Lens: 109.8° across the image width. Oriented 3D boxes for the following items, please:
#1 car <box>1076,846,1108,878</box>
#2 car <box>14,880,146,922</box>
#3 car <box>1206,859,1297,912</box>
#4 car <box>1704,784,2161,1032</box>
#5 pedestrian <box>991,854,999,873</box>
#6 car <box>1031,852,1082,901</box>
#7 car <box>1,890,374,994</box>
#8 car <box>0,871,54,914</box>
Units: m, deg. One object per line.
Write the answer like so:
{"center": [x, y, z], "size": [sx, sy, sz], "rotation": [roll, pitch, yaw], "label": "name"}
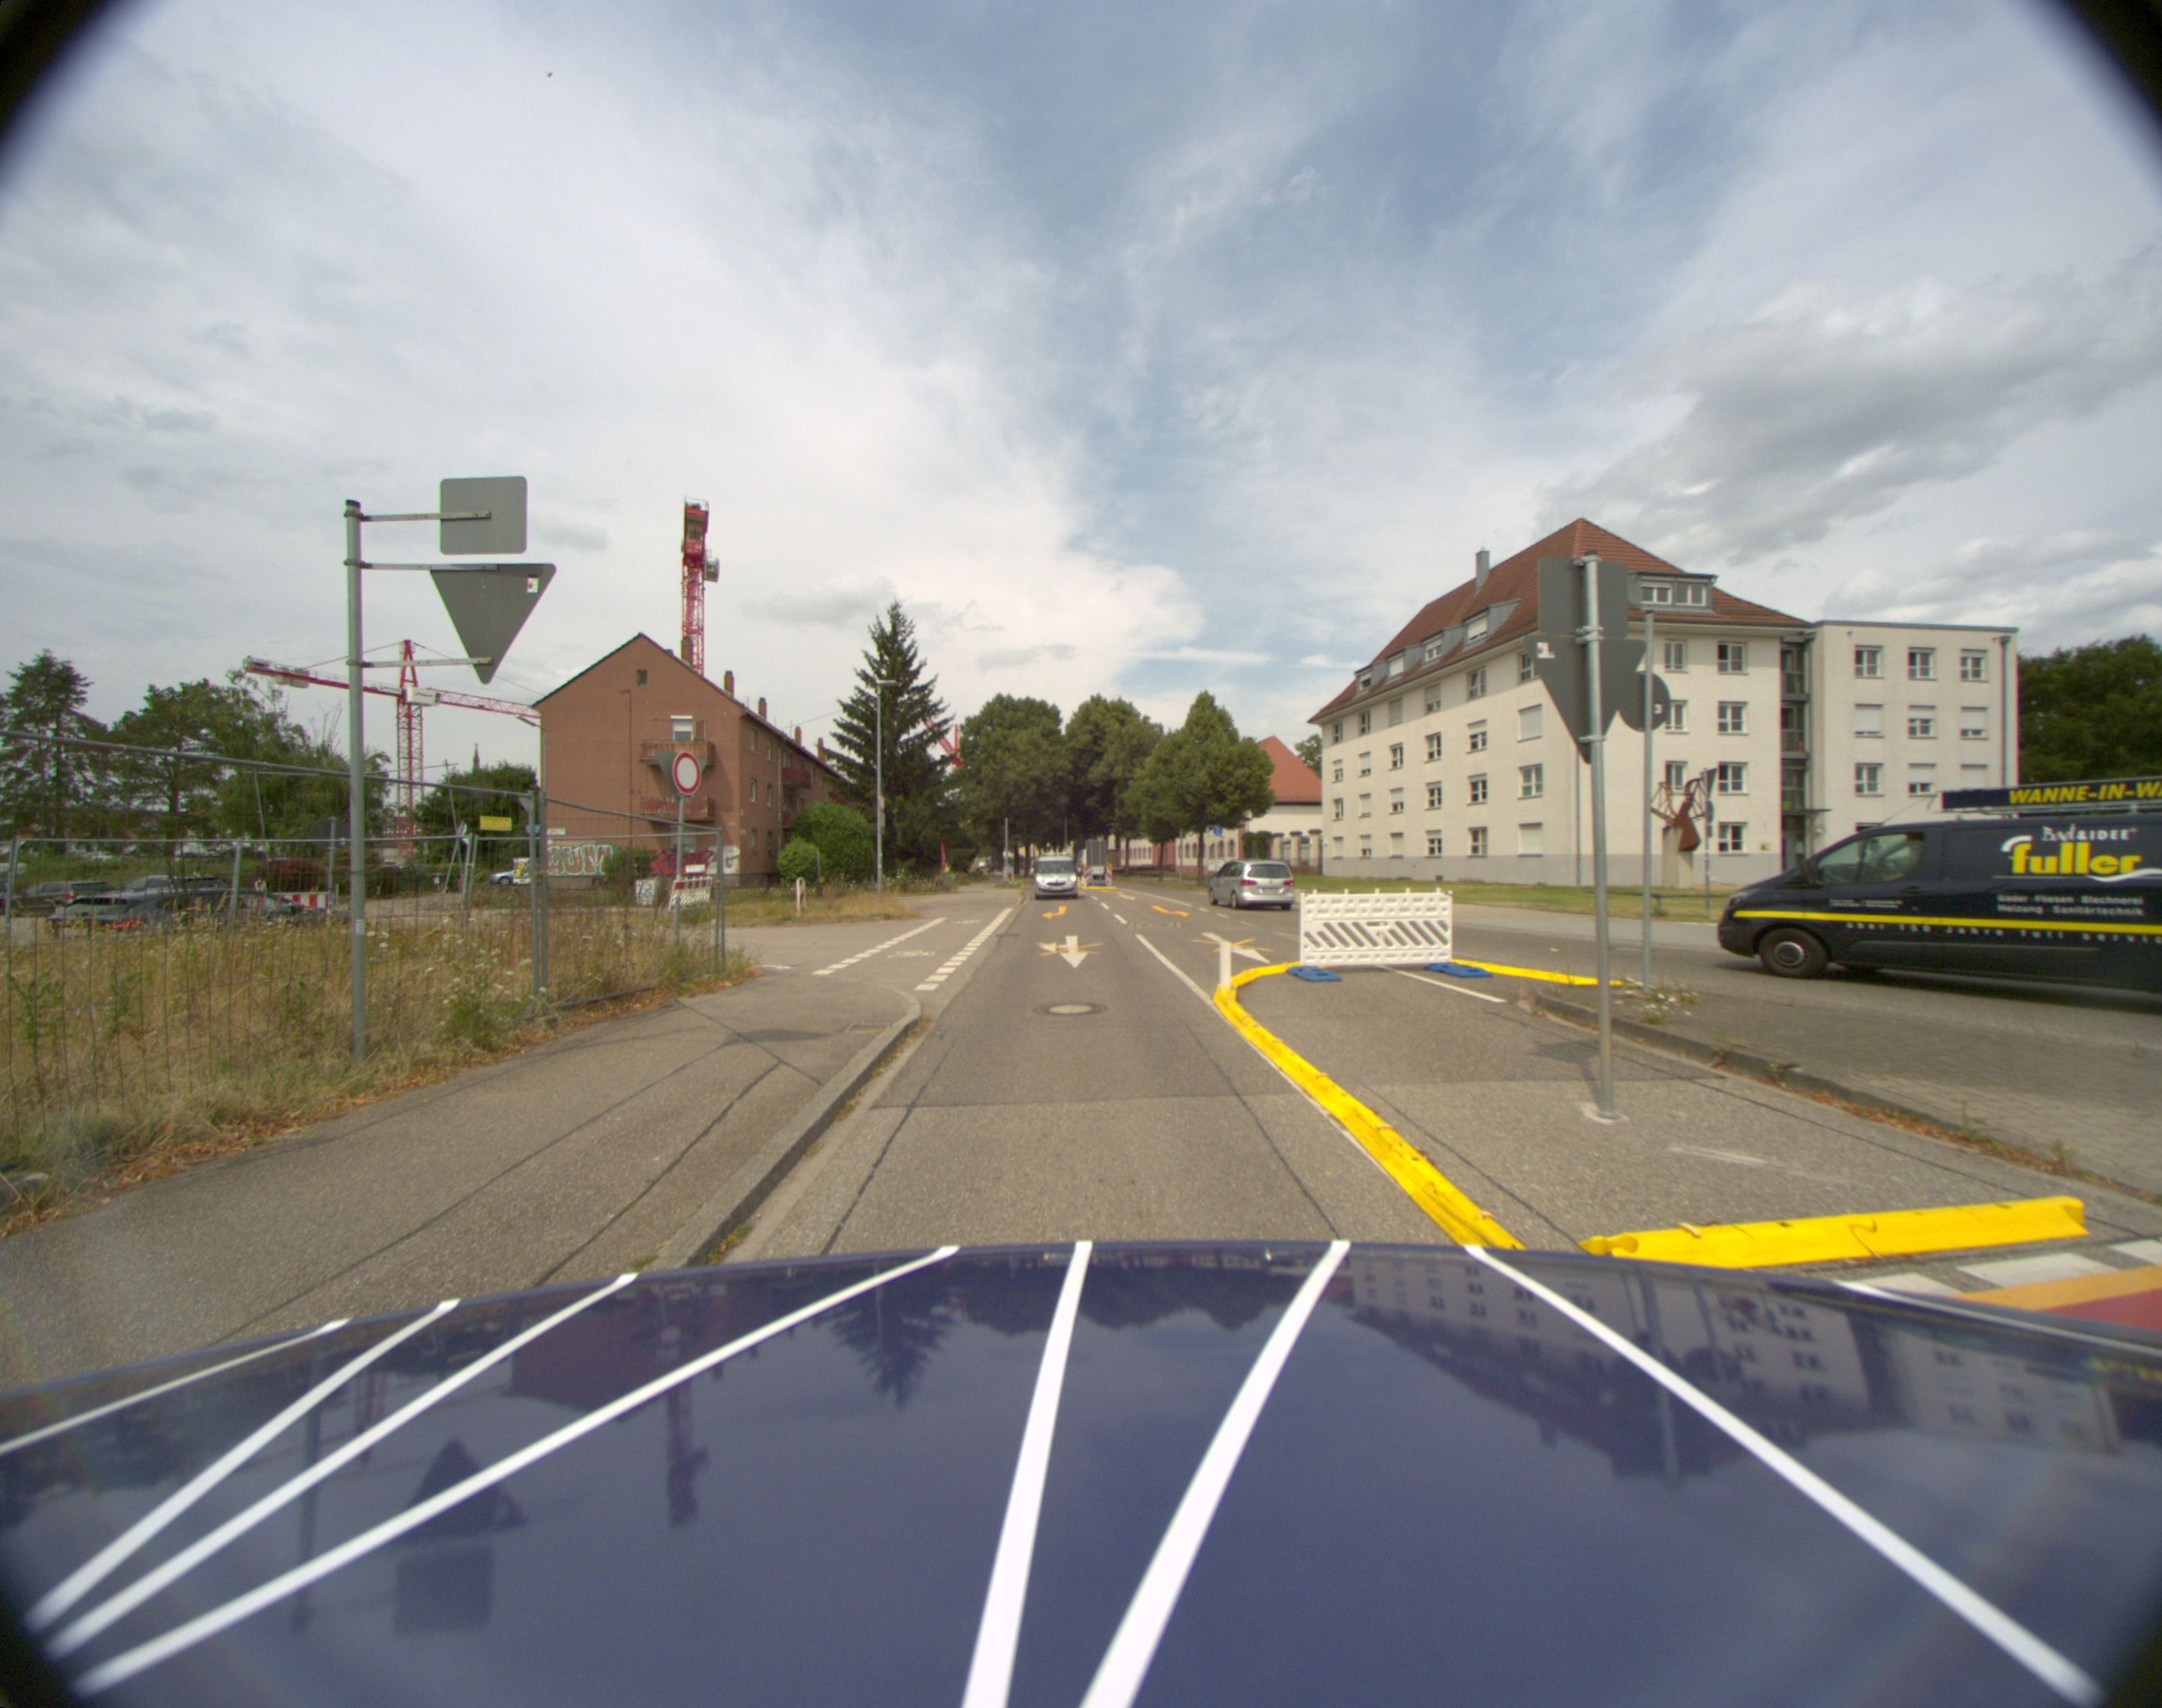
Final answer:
{"center": [0.904, 0.662, 67.374], "size": [2.071, 2.670, 5.967], "rotation": [-1, 0, -7], "label": "car"}
{"center": [-41.679, 1.935, 31.656], "size": [4.006, 1.593, 1.804], "rotation": [-1, 0, 13], "label": "car"}
{"center": [5.718, 1.001, 26.087], "size": [1.801, 1.613, 4.746], "rotation": [-1, 0, -3], "label": "car"}
{"center": [10.308, 0.499, 8.218], "size": [2.003, 2.259, 5.149], "rotation": [-1, 0, -26], "label": "car"}
{"center": [-9.122, 0.964, 80.447], "size": [0.856, 2.002, 0.731], "rotation": [-1, 0, -6], "label": "pedestrian"}
{"center": [-1.102, 0.891, 32.416], "size": [1.811, 1.936, 4.582], "rotation": [-1, 0, -6], "label": "car"}
{"center": [-16.200, 1.502, 14.203], "size": [1.765, 1.465, 4.261], "rotation": [-1, 0, 5], "label": "car"}
{"center": [-46.719, 1.635, 32.464], "size": [4.006, 1.739, 1.859], "rotation": [-1, 0, 12], "label": "car"}
